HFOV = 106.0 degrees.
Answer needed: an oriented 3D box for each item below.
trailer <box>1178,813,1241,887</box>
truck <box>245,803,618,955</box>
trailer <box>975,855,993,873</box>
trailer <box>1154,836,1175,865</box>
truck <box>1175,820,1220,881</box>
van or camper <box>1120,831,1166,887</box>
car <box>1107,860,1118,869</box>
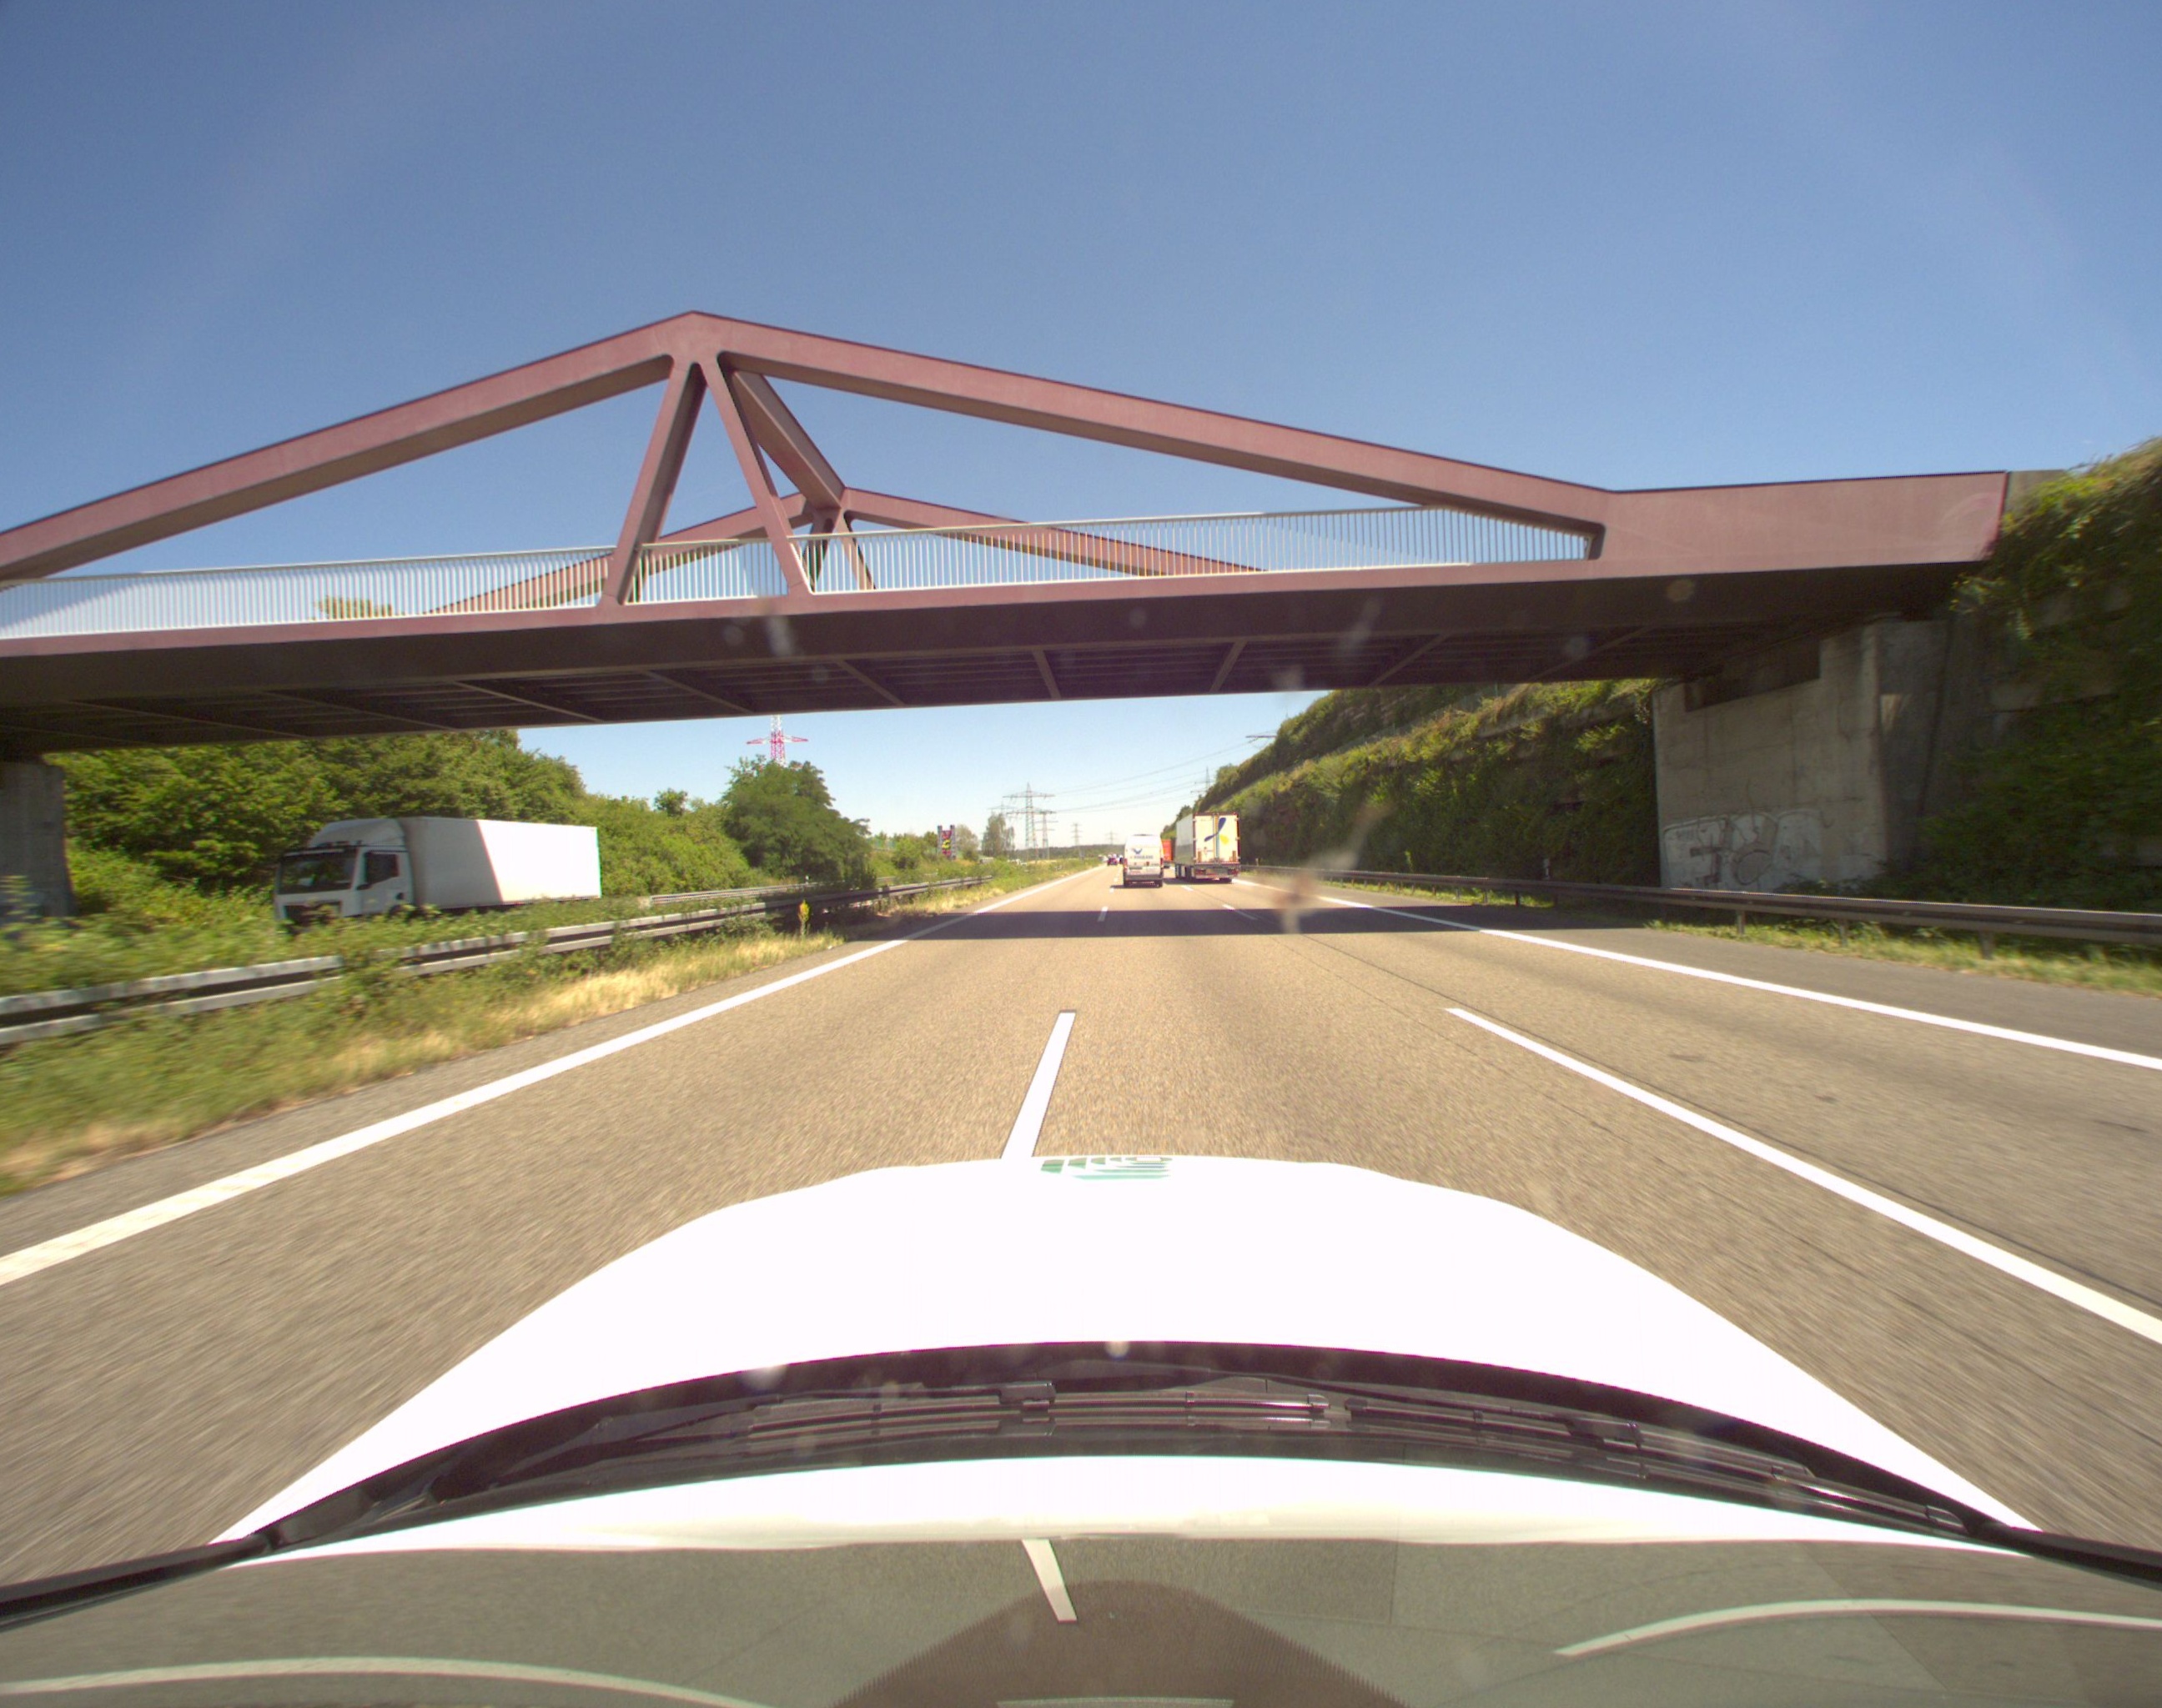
[{"bbox_3d":[7.787,-0.201,50.935,2.626,4.060,12.375,0,0,3],"label":"trailer"},{"bbox_3d":[-18.720,0.630,24.930,2.797,3.537,10.193,-3,0,2],"label":"truck"},{"bbox_3d":[-14.229,1.425,120.146,1.792,2.618,4.413,0,0,4],"label":"trailer"},{"bbox_3d":[11.694,-0.441,114.730,2.626,3.897,7.074,0,0,3],"label":"trailer"},{"bbox_3d":[8.125,-0.238,57.412,2.626,4.060,5.804,0,0,3],"label":"truck"},{"bbox_3d":[3.244,0.254,43.406,2.221,2.782,5.425,0,0,2],"label":"van or camper"},{"bbox_3d":[6.450,2.212,166.362,1.973,1.817,3.817,0,0,4],"label":"car"}]
